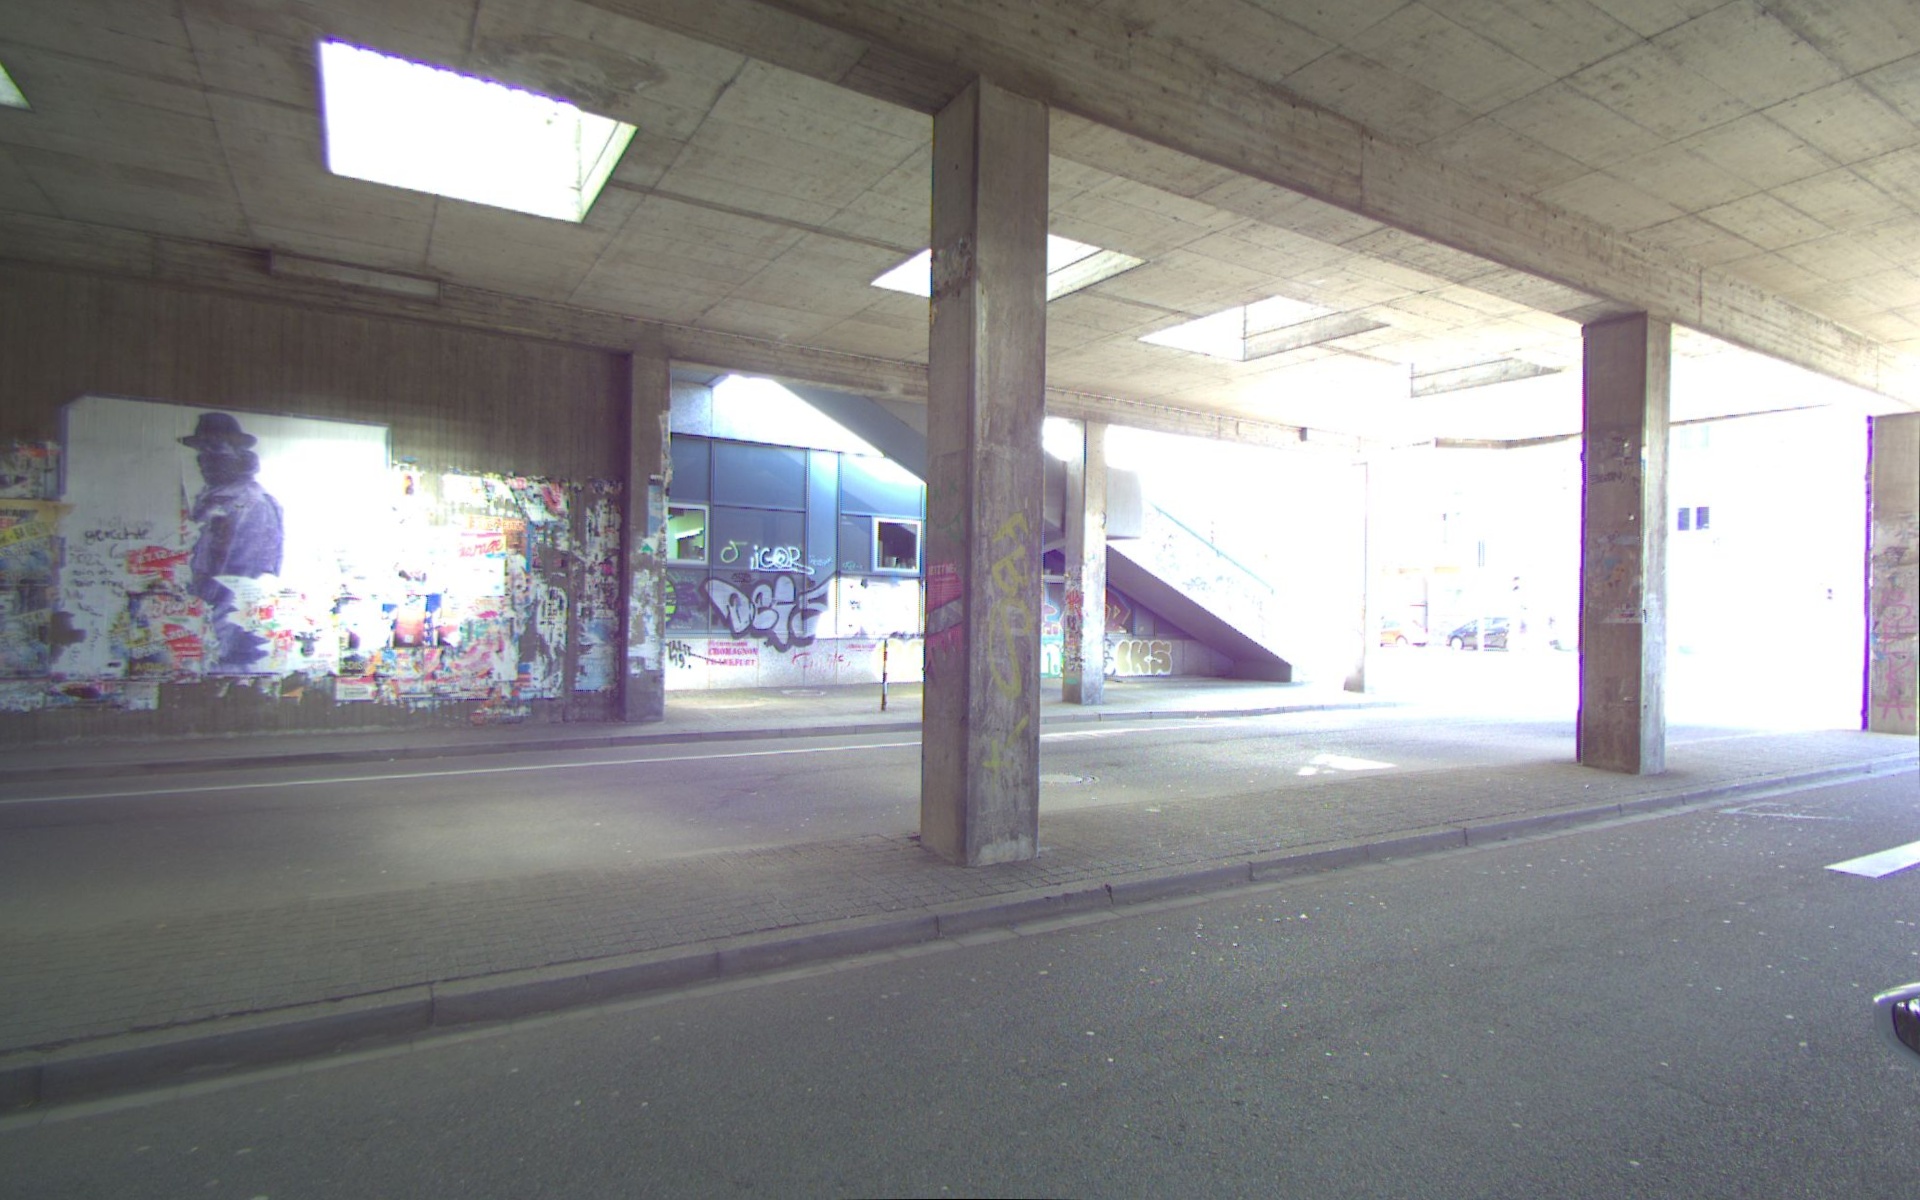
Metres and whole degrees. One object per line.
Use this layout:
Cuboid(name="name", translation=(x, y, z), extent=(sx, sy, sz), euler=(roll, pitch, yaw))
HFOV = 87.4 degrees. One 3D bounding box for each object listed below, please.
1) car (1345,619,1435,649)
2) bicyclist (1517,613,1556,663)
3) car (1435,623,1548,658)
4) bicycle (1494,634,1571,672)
Cuboid(name="car", translation=(22.478, 1.766, 52.664), extent=(1.905, 1.428, 3.965), euler=(2, 0, -32))
Cuboid(name="bicyclist", translation=(17.093, 1.130, 29.788), extent=(0.675, 1.442, 0.736), euler=(2, -2, -23))
Cuboid(name="car", translation=(25.202, 1.903, 47.752), extent=(1.905, 1.428, 4.382), euler=(2, 0, -32))
Cuboid(name="bicycle", translation=(17.029, 1.564, 29.926), extent=(0.708, 1.063, 1.986), euler=(2, -2, -22))
